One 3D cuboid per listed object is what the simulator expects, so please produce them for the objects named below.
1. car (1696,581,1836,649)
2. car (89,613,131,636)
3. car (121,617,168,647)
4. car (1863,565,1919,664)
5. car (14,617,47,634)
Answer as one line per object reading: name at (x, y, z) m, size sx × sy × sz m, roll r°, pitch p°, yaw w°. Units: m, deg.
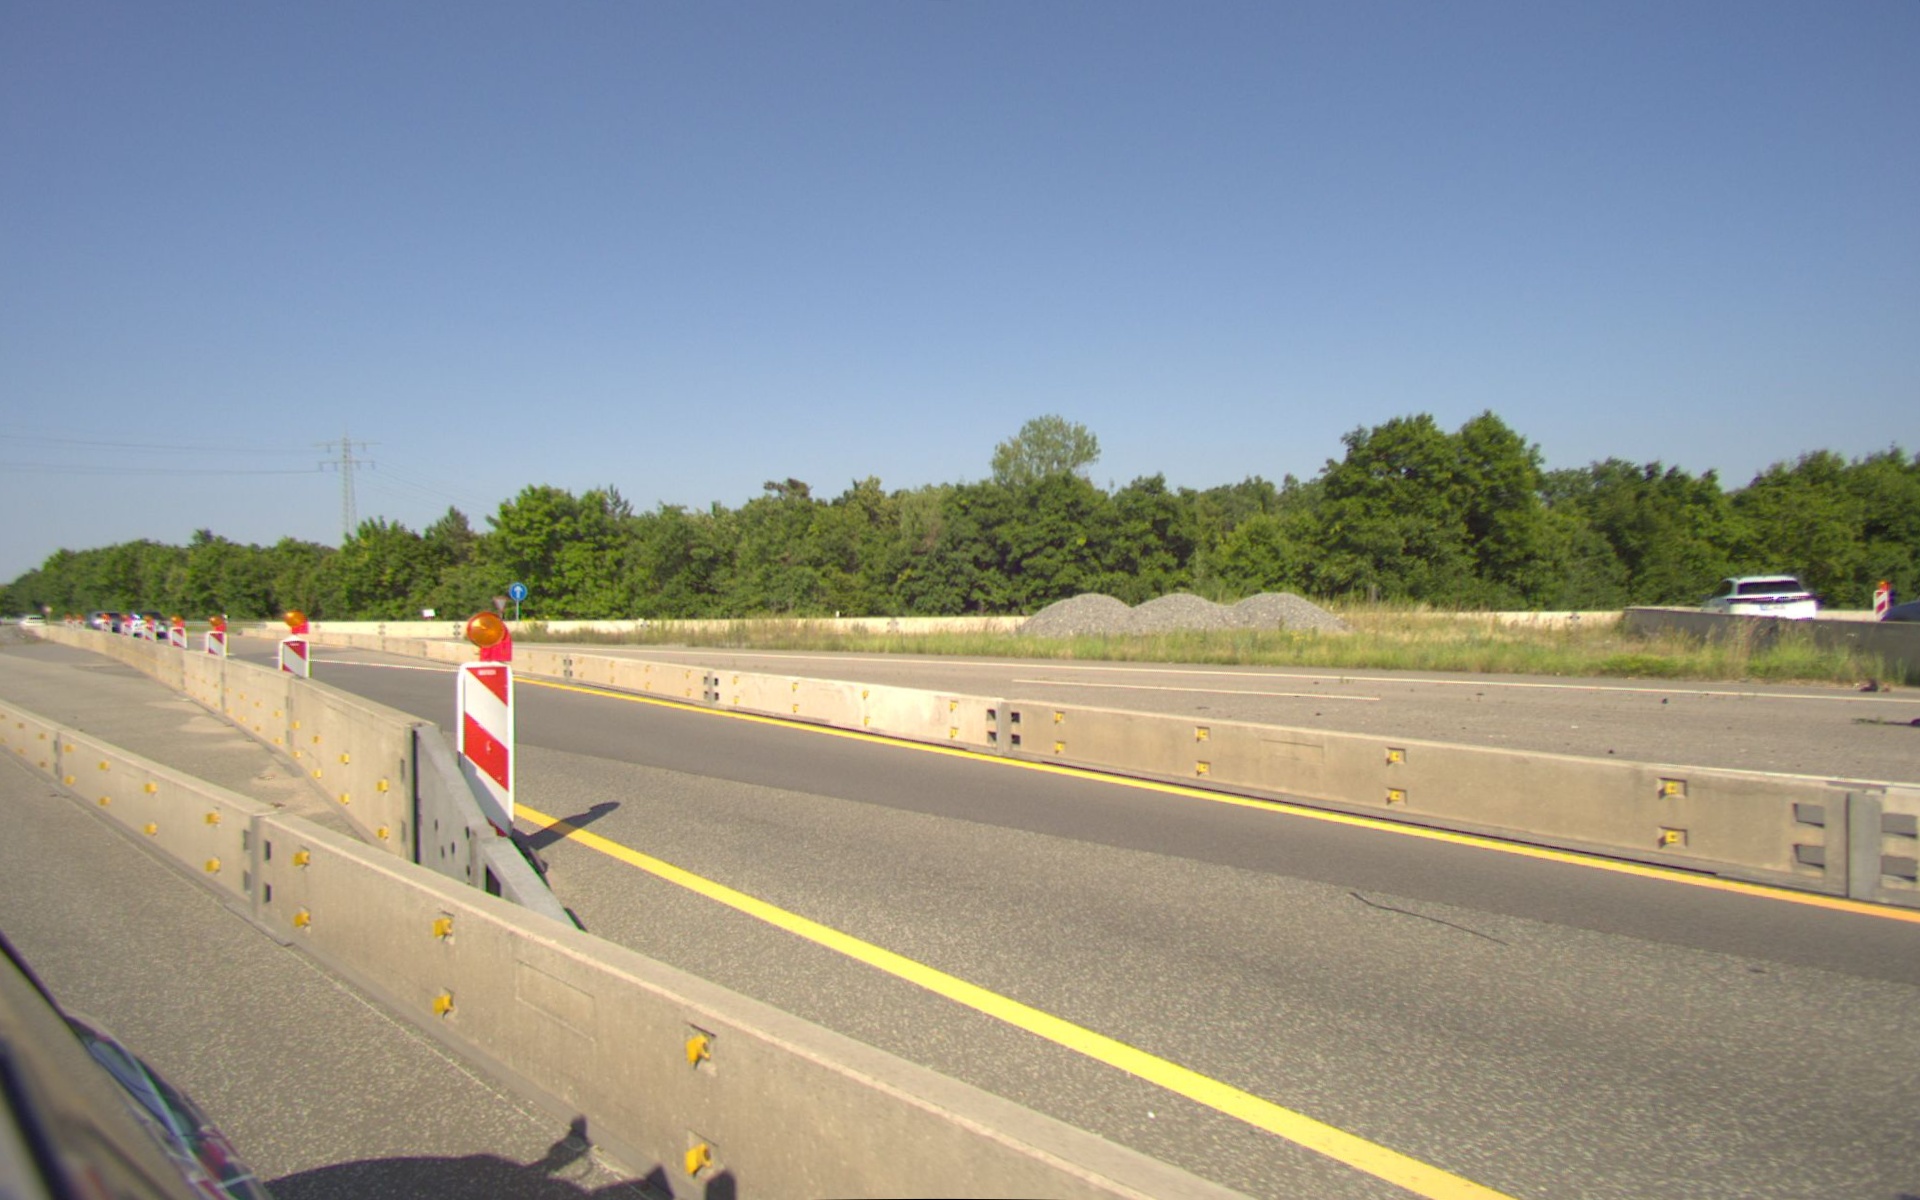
car at (20.082, 0.347, 25.409) m, size 1.951 × 1.566 × 3.963 m, roll -1°, pitch 0°, yaw 27°
car at (-59.836, 1.704, 71.223) m, size 1.970 × 1.527 × 4.584 m, roll 0°, pitch -1°, yaw -44°
car at (-44.729, 1.739, 55.494) m, size 1.691 × 1.527 × 4.182 m, roll 0°, pitch -1°, yaw -44°
car at (16.703, 0.227, 15.449) m, size 1.977 × 1.634 × 4.835 m, roll -1°, pitch 0°, yaw 9°
car at (-93.635, 2.523, 101.955) m, size 4.433 × 1.620 × 1.800 m, roll -1°, pitch 0°, yaw 38°
